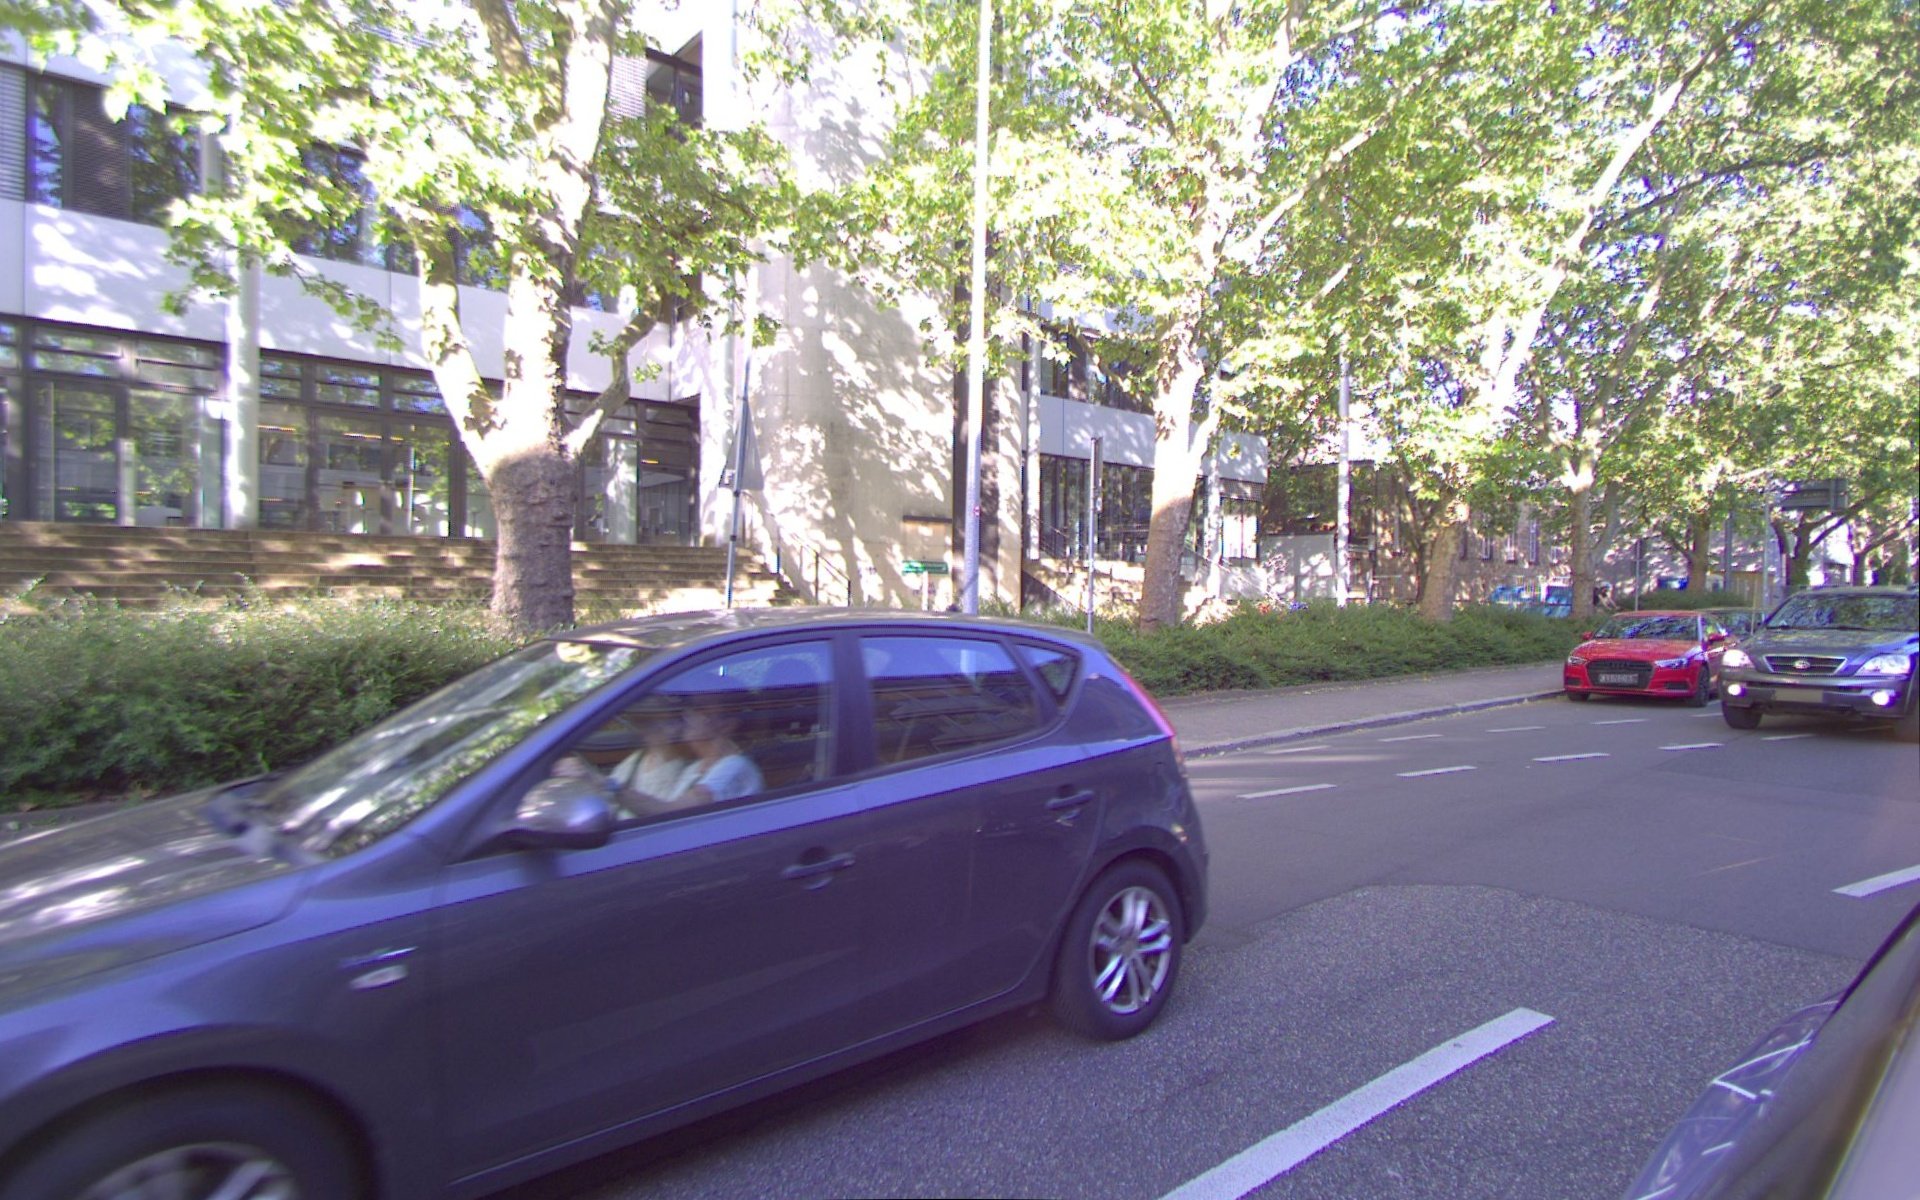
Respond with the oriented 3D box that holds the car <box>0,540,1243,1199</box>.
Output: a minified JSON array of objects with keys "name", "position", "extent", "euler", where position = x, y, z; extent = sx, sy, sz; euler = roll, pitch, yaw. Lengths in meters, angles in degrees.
[{"name":"car","position":[-0.950,0.646,3.116],"extent":[3.906,1.501,1.647],"euler":[0,0,-41]}]

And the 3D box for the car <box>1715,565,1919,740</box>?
[{"name":"car","position":[11.156,0.543,12.276],"extent":[4.299,1.793,1.787],"euler":[0,-1,-33]}]

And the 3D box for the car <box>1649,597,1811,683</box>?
[{"name":"car","position":[14.852,0.707,19.451],"extent":[4.022,1.472,1.739],"euler":[0,-1,-42]}]

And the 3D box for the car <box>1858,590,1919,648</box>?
[{"name":"car","position":[29.670,0.556,31.873],"extent":[3.840,1.708,1.633],"euler":[0,1,-42]}]

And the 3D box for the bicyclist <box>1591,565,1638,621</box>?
[{"name":"bicyclist","position":[19.594,-0.211,30.295],"extent":[0.685,1.640,1.036],"euler":[0,0,-40]}]

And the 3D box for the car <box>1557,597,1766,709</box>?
[{"name":"car","position":[11.234,0.748,16.110],"extent":[4.071,1.548,1.827],"euler":[0,-1,-42]}]

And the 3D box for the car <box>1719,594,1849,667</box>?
[{"name":"car","position":[18.725,0.647,22.938],"extent":[3.851,1.511,1.679],"euler":[0,-1,-42]}]

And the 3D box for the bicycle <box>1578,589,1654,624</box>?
[{"name":"bicycle","position":[19.610,0.183,30.289],"extent":[0.722,1.027,1.796],"euler":[0,0,-41]}]

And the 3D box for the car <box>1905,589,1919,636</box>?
[{"name":"car","position":[38.829,0.491,40.086],"extent":[3.829,1.818,1.739],"euler":[0,1,-42]}]
